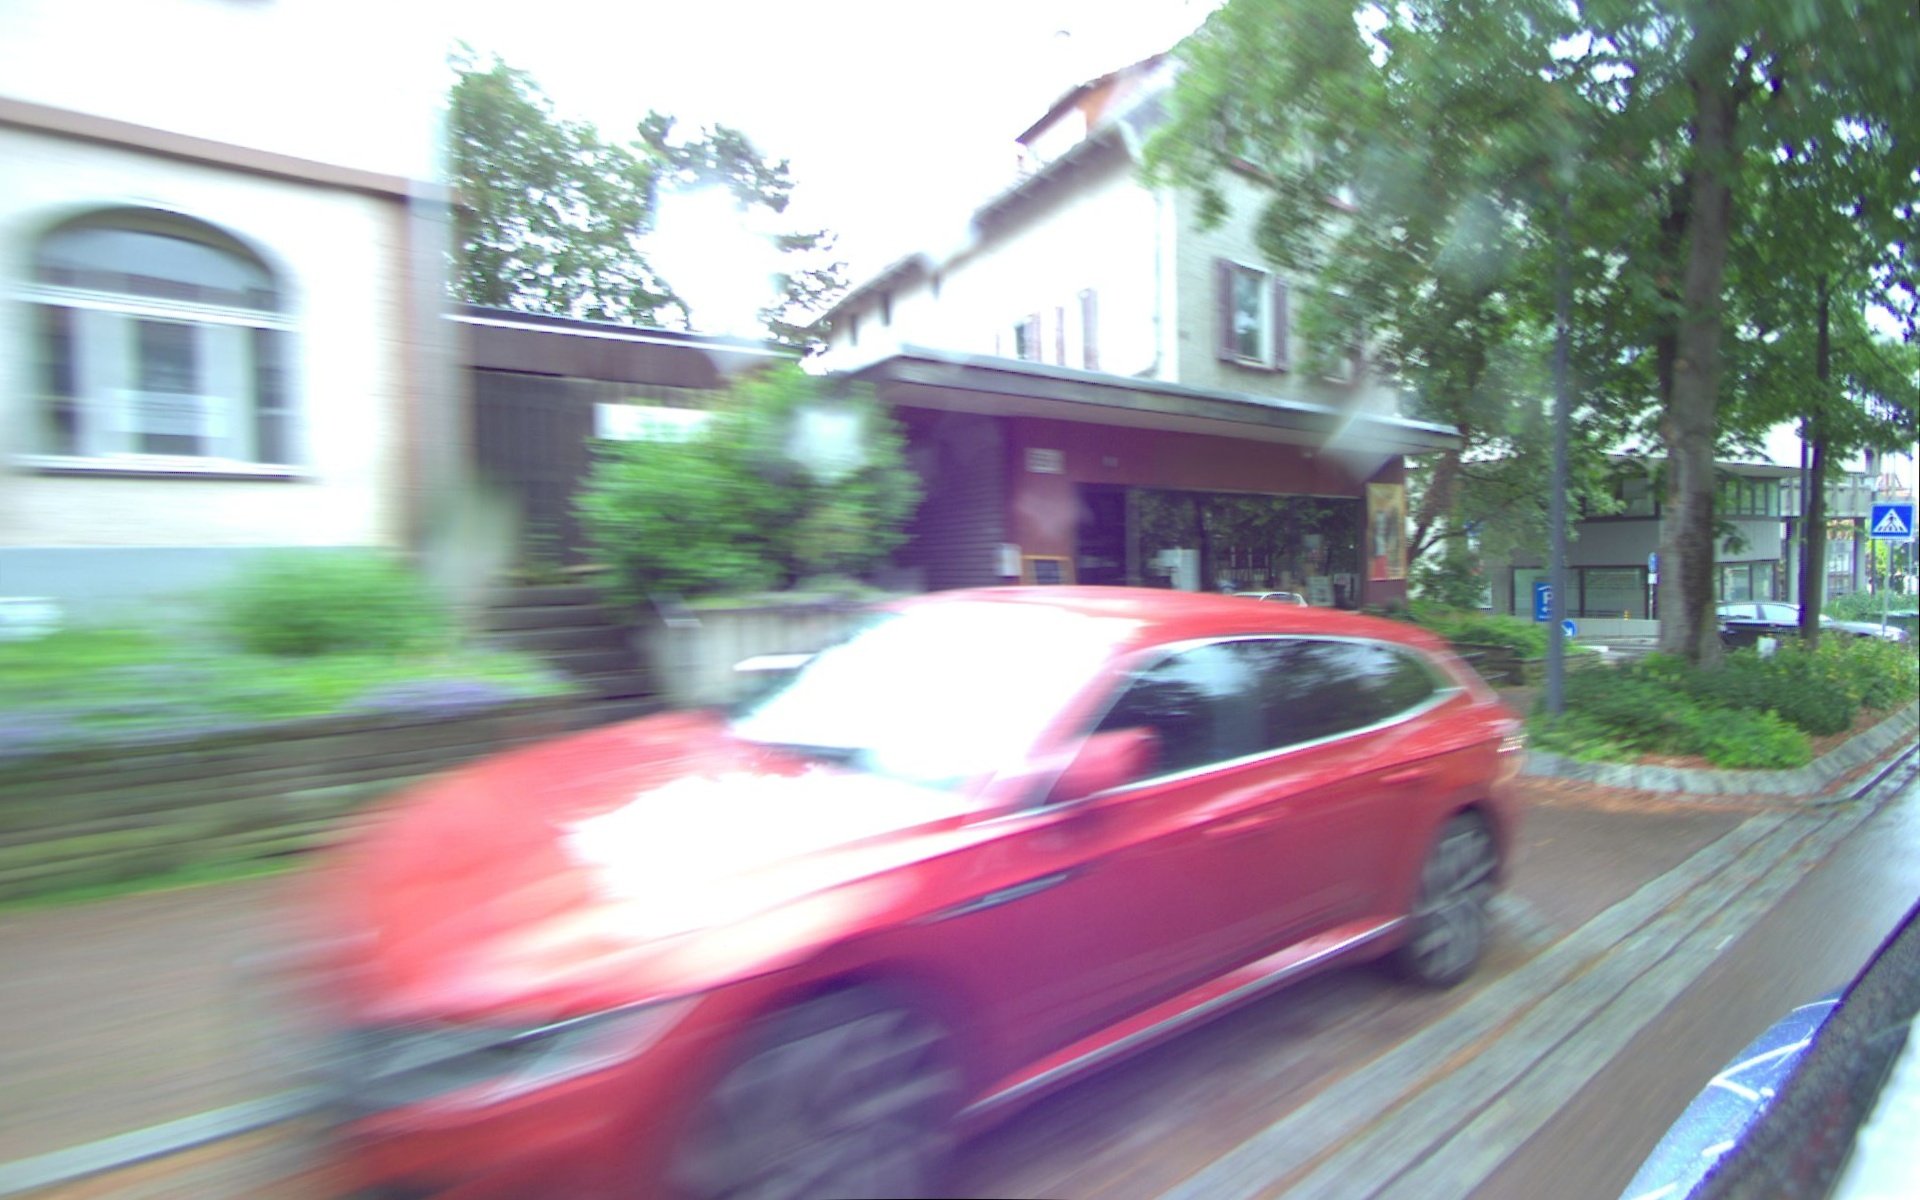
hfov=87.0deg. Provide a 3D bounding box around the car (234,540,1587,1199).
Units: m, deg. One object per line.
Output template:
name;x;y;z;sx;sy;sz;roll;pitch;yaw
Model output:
car;0.309;0.627;3.699;4.736;1.487;1.897;0;1;-39

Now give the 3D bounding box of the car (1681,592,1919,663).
car;19.381;0.578;23.286;1.798;1.478;4.264;0;0;-42
